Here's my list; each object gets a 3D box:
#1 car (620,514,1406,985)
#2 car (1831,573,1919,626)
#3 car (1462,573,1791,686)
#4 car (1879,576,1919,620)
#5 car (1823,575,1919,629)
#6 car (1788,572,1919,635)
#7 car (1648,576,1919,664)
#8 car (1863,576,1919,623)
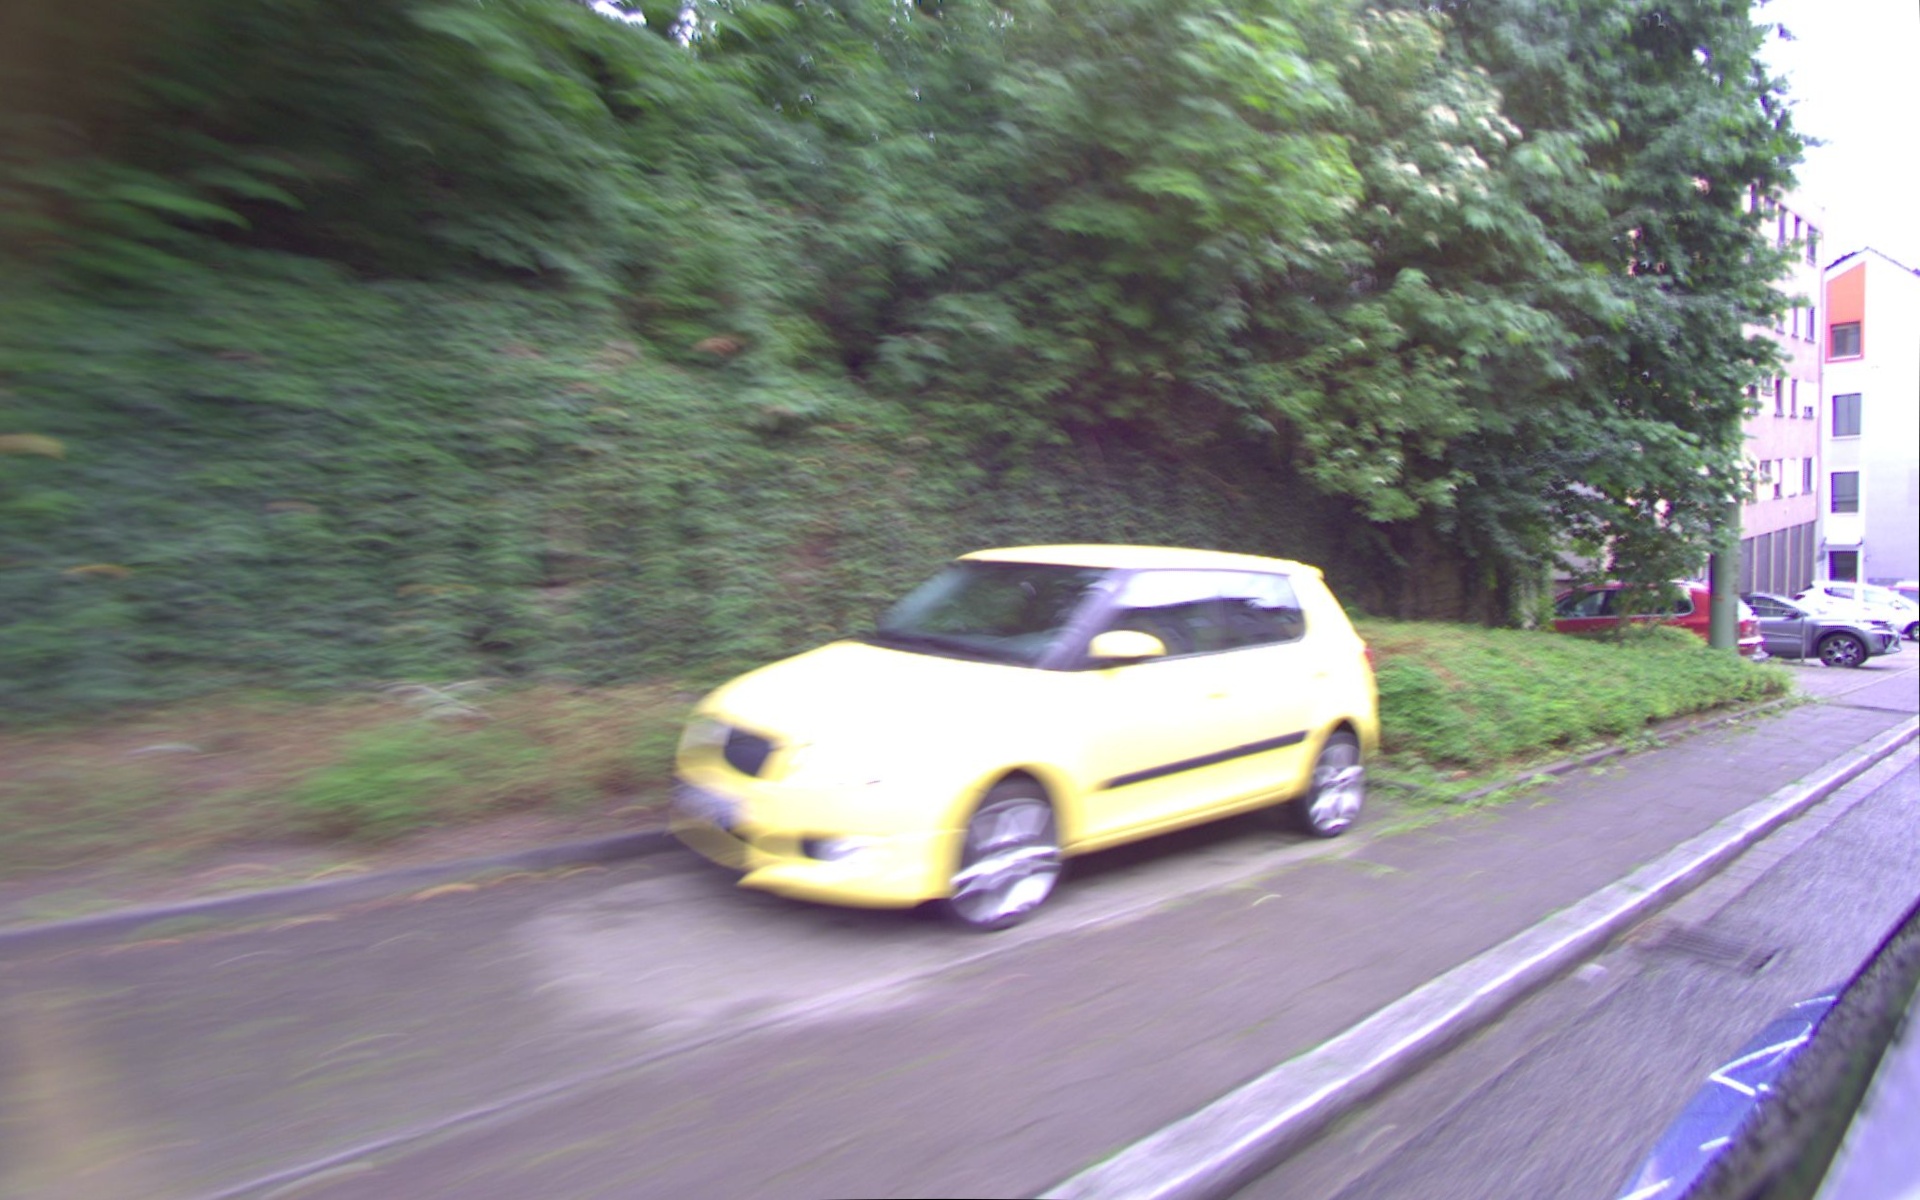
[{"bbox_3d":[0.497,0.418,5.036,3.829,1.484,1.568,0,4,-40],"label":"car"},{"bbox_3d":[33.208,0.032,35.114,1.772,1.664,4.194,-1,6,-40],"label":"car"},{"bbox_3d":[10.789,0.370,16.638,1.772,1.613,4.191,0,1,-40],"label":"car"},{"bbox_3d":[38.322,0.048,38.874,1.772,1.592,4.194,0,5,-40],"label":"car"},{"bbox_3d":[31.449,0.111,33.412,1.772,1.592,4.194,0,5,-40],"label":"car"},{"bbox_3d":[27.746,0.113,30.337,1.772,1.592,4.194,0,5,-40],"label":"car"},{"bbox_3d":[17.030,0.337,21.012,1.772,1.433,4.193,0,4,-40],"label":"car"},{"bbox_3d":[36.304,0.082,37.325,1.772,1.592,4.194,0,5,-40],"label":"car"}]
